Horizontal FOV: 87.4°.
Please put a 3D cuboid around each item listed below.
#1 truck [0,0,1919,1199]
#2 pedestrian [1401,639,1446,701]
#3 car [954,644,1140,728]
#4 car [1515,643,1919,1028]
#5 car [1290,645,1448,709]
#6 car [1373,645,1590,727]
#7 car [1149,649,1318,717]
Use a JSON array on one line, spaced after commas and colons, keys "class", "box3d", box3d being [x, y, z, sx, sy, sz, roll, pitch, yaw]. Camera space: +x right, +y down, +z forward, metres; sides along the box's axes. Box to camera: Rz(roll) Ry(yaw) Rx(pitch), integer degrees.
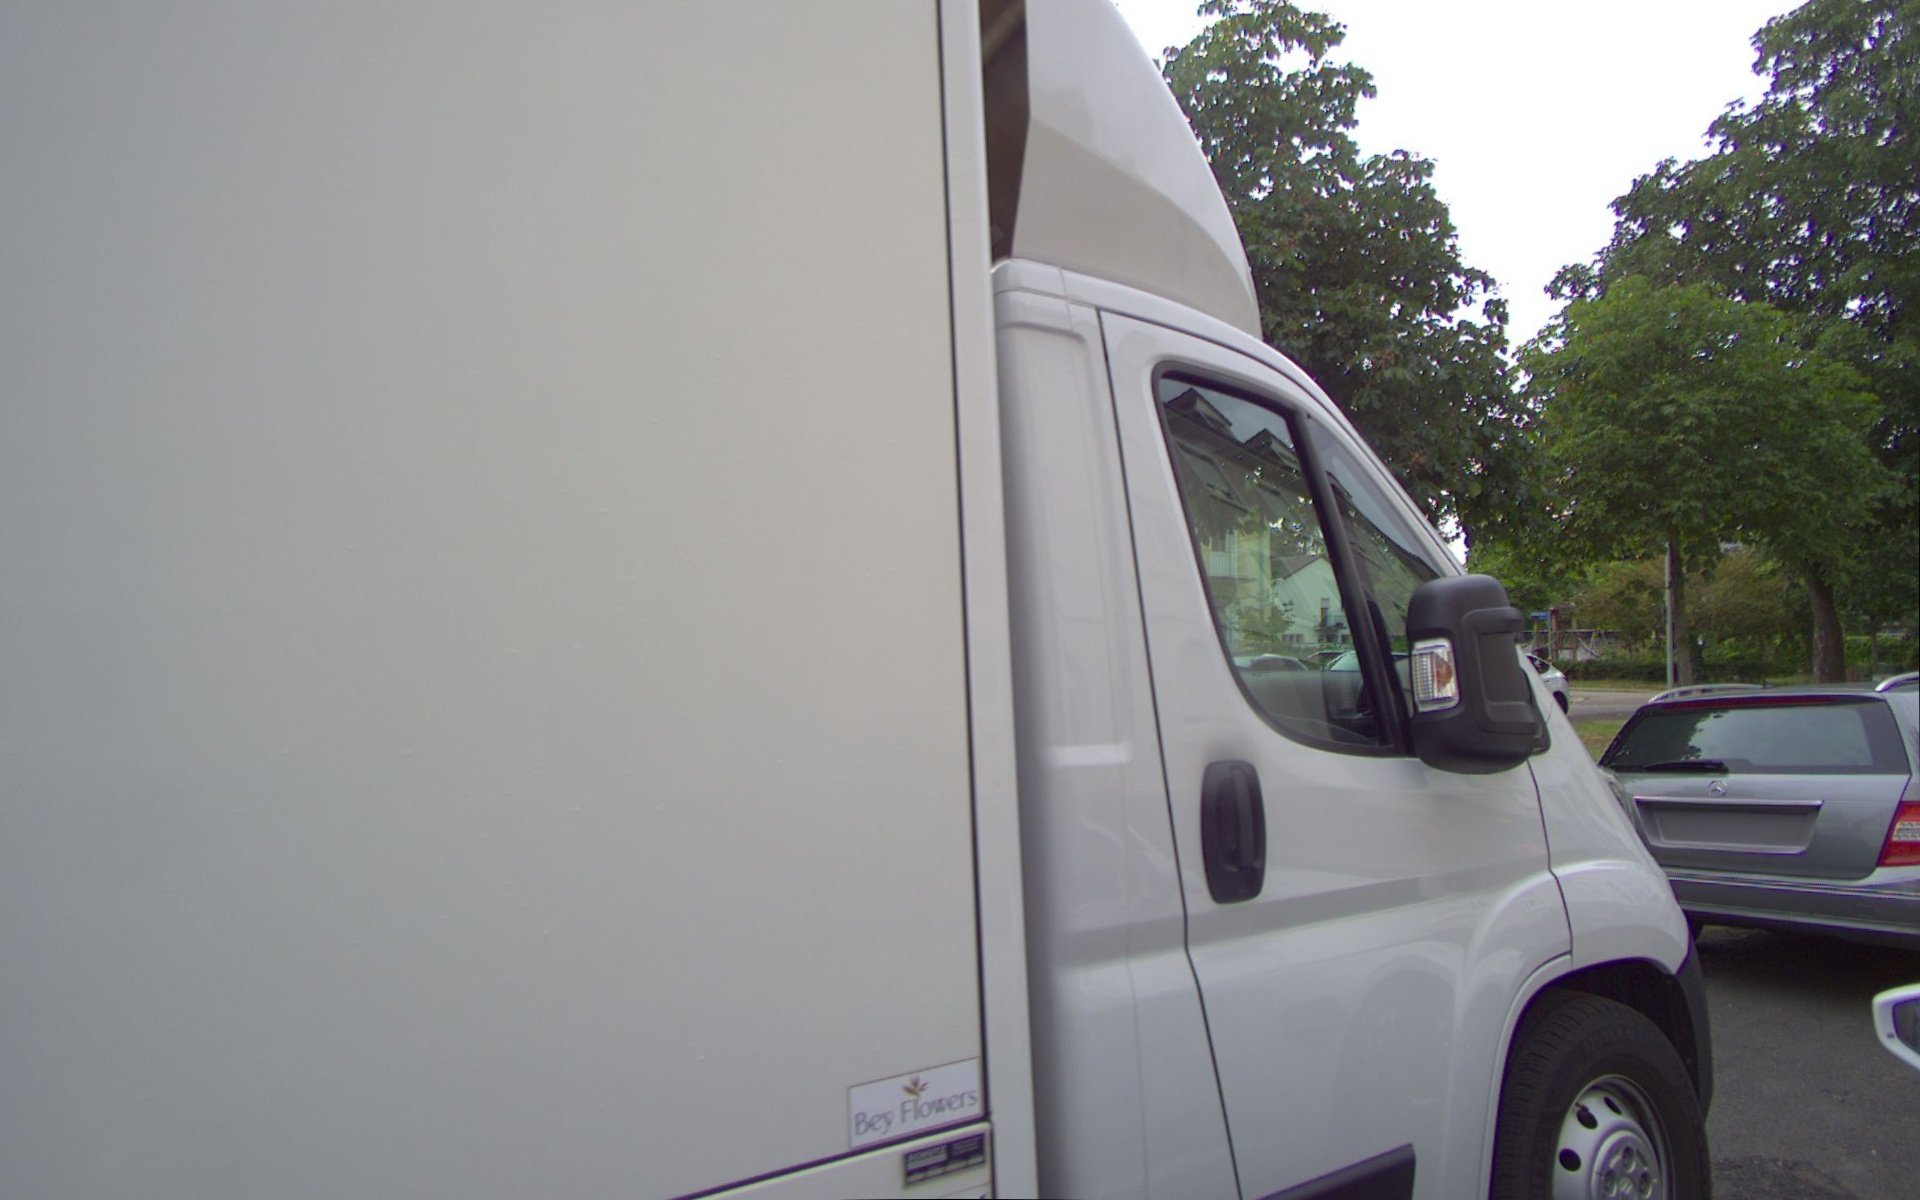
[{"class": "truck", "box3d": [-1.378, 0.064, 1.763, 7.029, 2.993, 2.428, 2, -7, -30]}, {"class": "pedestrian", "box3d": [14.237, 2.140, 30.878, 1.195, 1.860, 0.879, 0, -3, 21]}, {"class": "car", "box3d": [1.962, 1.850, 22.334, 3.841, 1.623, 1.705, 2, 0, -32]}, {"class": "car", "box3d": [5.253, 1.044, 5.602, 4.396, 1.476, 1.704, 2, -7, -30]}, {"class": "car", "box3d": [11.273, 2.090, 27.650, 4.156, 1.587, 1.694, 2, -1, -27]}, {"class": "car", "box3d": [11.230, 1.781, 21.557, 4.827, 1.587, 1.888, 2, -3, -31]}, {"class": "car", "box3d": [6.916, 2.037, 25.311, 4.119, 1.520, 1.705, 2, 0, -31]}]
